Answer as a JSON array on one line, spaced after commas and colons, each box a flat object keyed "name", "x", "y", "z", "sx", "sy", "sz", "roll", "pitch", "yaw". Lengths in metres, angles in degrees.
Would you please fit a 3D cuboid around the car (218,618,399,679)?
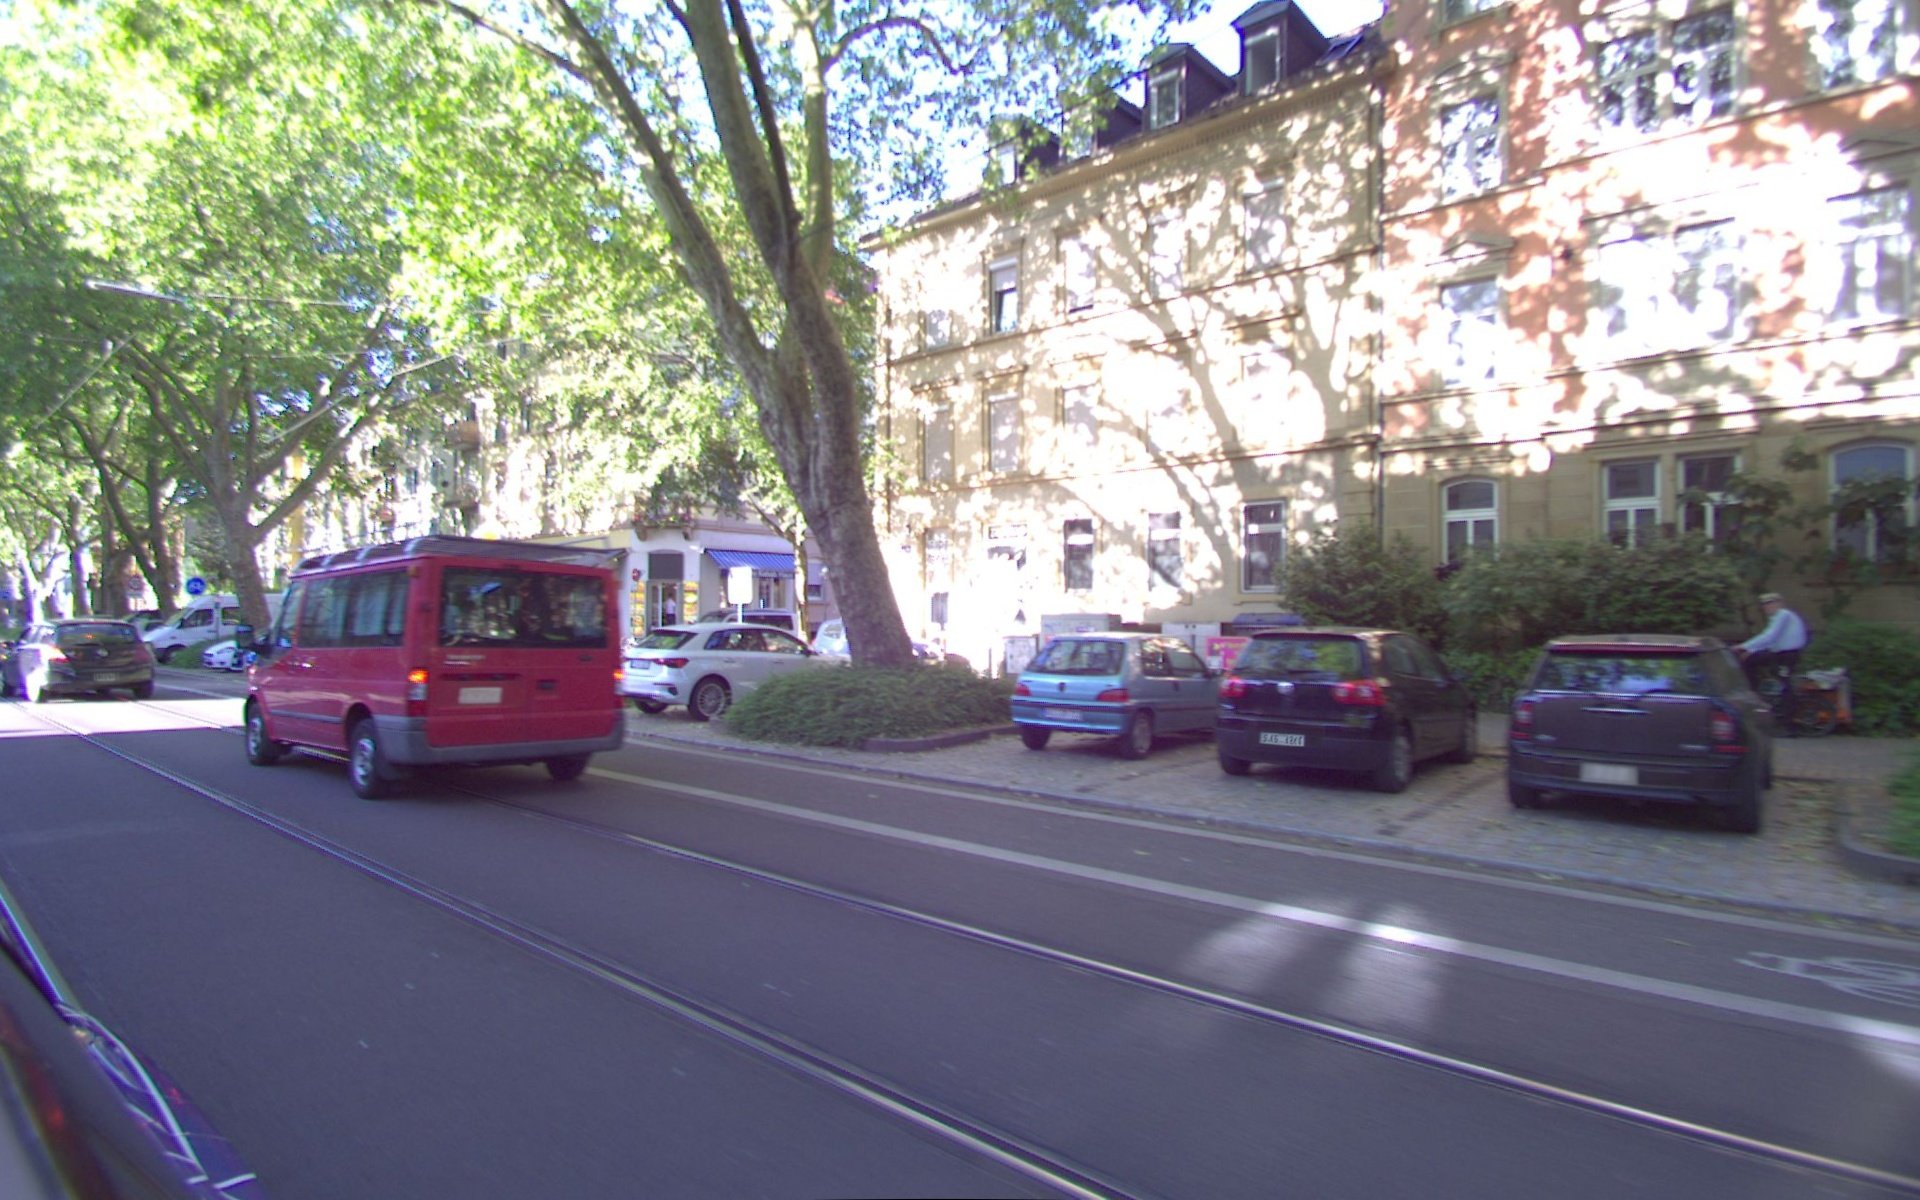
[{"name": "car", "x": -19.807, "y": 1.435, "z": 30.920, "sx": 1.814, "sy": 1.725, "sz": 4.278, "roll": -1, "pitch": -2, "yaw": 38}]

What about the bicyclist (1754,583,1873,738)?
[{"name": "bicyclist", "x": 10.283, "y": 0.702, "z": 12.213, "sx": 1.048, "sy": 1.776, "sz": 0.822, "roll": -1, "pitch": -2, "yaw": 41}]

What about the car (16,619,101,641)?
[{"name": "car", "x": -58.299, "y": 1.930, "z": 65.490, "sx": 1.410, "sy": 1.385, "sz": 3.949, "roll": -1, "pitch": -1, "yaw": 38}]

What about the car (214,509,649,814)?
[{"name": "car", "x": -5.290, "y": 0.530, "z": 9.801, "sx": 4.956, "sy": 2.244, "sz": 1.898, "roll": -1, "pitch": -4, "yaw": 40}]

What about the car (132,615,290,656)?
[{"name": "car", "x": -30.348, "y": 1.406, "z": 41.125, "sx": 1.999, "sy": 1.456, "sz": 4.879, "roll": -2, "pitch": 0, "yaw": 42}]

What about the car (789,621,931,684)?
[{"name": "car", "x": -2.554, "y": 1.278, "z": 25.597, "sx": 3.485, "sy": 1.471, "sz": 1.583, "roll": -1, "pitch": -2, "yaw": 39}]

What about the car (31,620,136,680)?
[{"name": "car", "x": -23.889, "y": 1.297, "z": 27.548, "sx": 3.689, "sy": 1.521, "sz": 1.618, "roll": -1, "pitch": -2, "yaw": 41}]

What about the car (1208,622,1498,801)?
[{"name": "car", "x": 4.215, "y": 0.965, "z": 10.473, "sx": 1.768, "sy": 1.471, "sz": 3.949, "roll": -1, "pitch": -2, "yaw": 38}]

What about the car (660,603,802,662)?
[{"name": "car", "x": -8.136, "y": 1.112, "z": 36.241, "sx": 2.130, "sy": 1.894, "sz": 4.521, "roll": 2, "pitch": 1, "yaw": 44}]

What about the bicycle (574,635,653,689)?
[{"name": "bicycle", "x": -7.326, "y": 1.301, "z": 21.416, "sx": 1.536, "sy": 1.096, "sz": 0.397, "roll": 1, "pitch": -2, "yaw": -31}]

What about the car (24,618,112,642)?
[{"name": "car", "x": -56.376, "y": 1.895, "z": 63.989, "sx": 1.599, "sy": 1.442, "sz": 3.949, "roll": -1, "pitch": -1, "yaw": 38}]

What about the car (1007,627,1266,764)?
[{"name": "car", "x": 2.317, "y": 1.034, "z": 12.455, "sx": 1.602, "sy": 1.379, "sz": 3.951, "roll": -1, "pitch": -2, "yaw": 36}]

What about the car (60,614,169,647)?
[{"name": "car", "x": -46.197, "y": 1.662, "z": 55.349, "sx": 1.999, "sy": 1.625, "sz": 4.309, "roll": -2, "pitch": 0, "yaw": 42}]

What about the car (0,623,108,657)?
[{"name": "car", "x": -49.458, "y": 2.133, "z": 55.193, "sx": 1.999, "sy": 1.625, "sz": 4.309, "roll": -2, "pitch": 0, "yaw": 42}]

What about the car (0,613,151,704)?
[{"name": "car", "x": -16.566, "y": 1.018, "z": 18.803, "sx": 3.720, "sy": 1.521, "sz": 1.700, "roll": -1, "pitch": -2, "yaw": 40}]

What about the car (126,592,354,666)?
[{"name": "car", "x": -26.377, "y": 1.006, "z": 37.353, "sx": 1.999, "sy": 2.426, "sz": 6.532, "roll": -3, "pitch": -1, "yaw": 41}]

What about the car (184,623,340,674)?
[{"name": "car", "x": -22.096, "y": 1.492, "z": 32.165, "sx": 1.746, "sy": 1.529, "sz": 3.733, "roll": -1, "pitch": -2, "yaw": 38}]

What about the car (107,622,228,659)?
[{"name": "car", "x": -35.649, "y": 1.790, "z": 45.603, "sx": 1.868, "sy": 1.456, "sz": 4.015, "roll": -2, "pitch": 0, "yaw": 42}]

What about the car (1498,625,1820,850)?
[{"name": "car", "x": 6.149, "y": 0.958, "z": 8.712, "sx": 1.704, "sy": 1.471, "sz": 3.943, "roll": -1, "pitch": -2, "yaw": 43}]

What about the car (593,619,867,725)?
[{"name": "car", "x": -3.550, "y": 1.033, "z": 16.154, "sx": 1.878, "sy": 1.471, "sz": 3.946, "roll": -1, "pitch": -2, "yaw": 40}]

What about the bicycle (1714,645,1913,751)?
[{"name": "bicycle", "x": 10.261, "y": 1.137, "z": 12.226, "sx": 1.779, "sy": 1.147, "sz": 0.734, "roll": -1, "pitch": -2, "yaw": 42}]

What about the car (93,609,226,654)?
[{"name": "car", "x": -37.379, "y": 1.441, "z": 47.341, "sx": 1.920, "sy": 1.922, "sz": 4.580, "roll": -2, "pitch": 0, "yaw": 40}]
